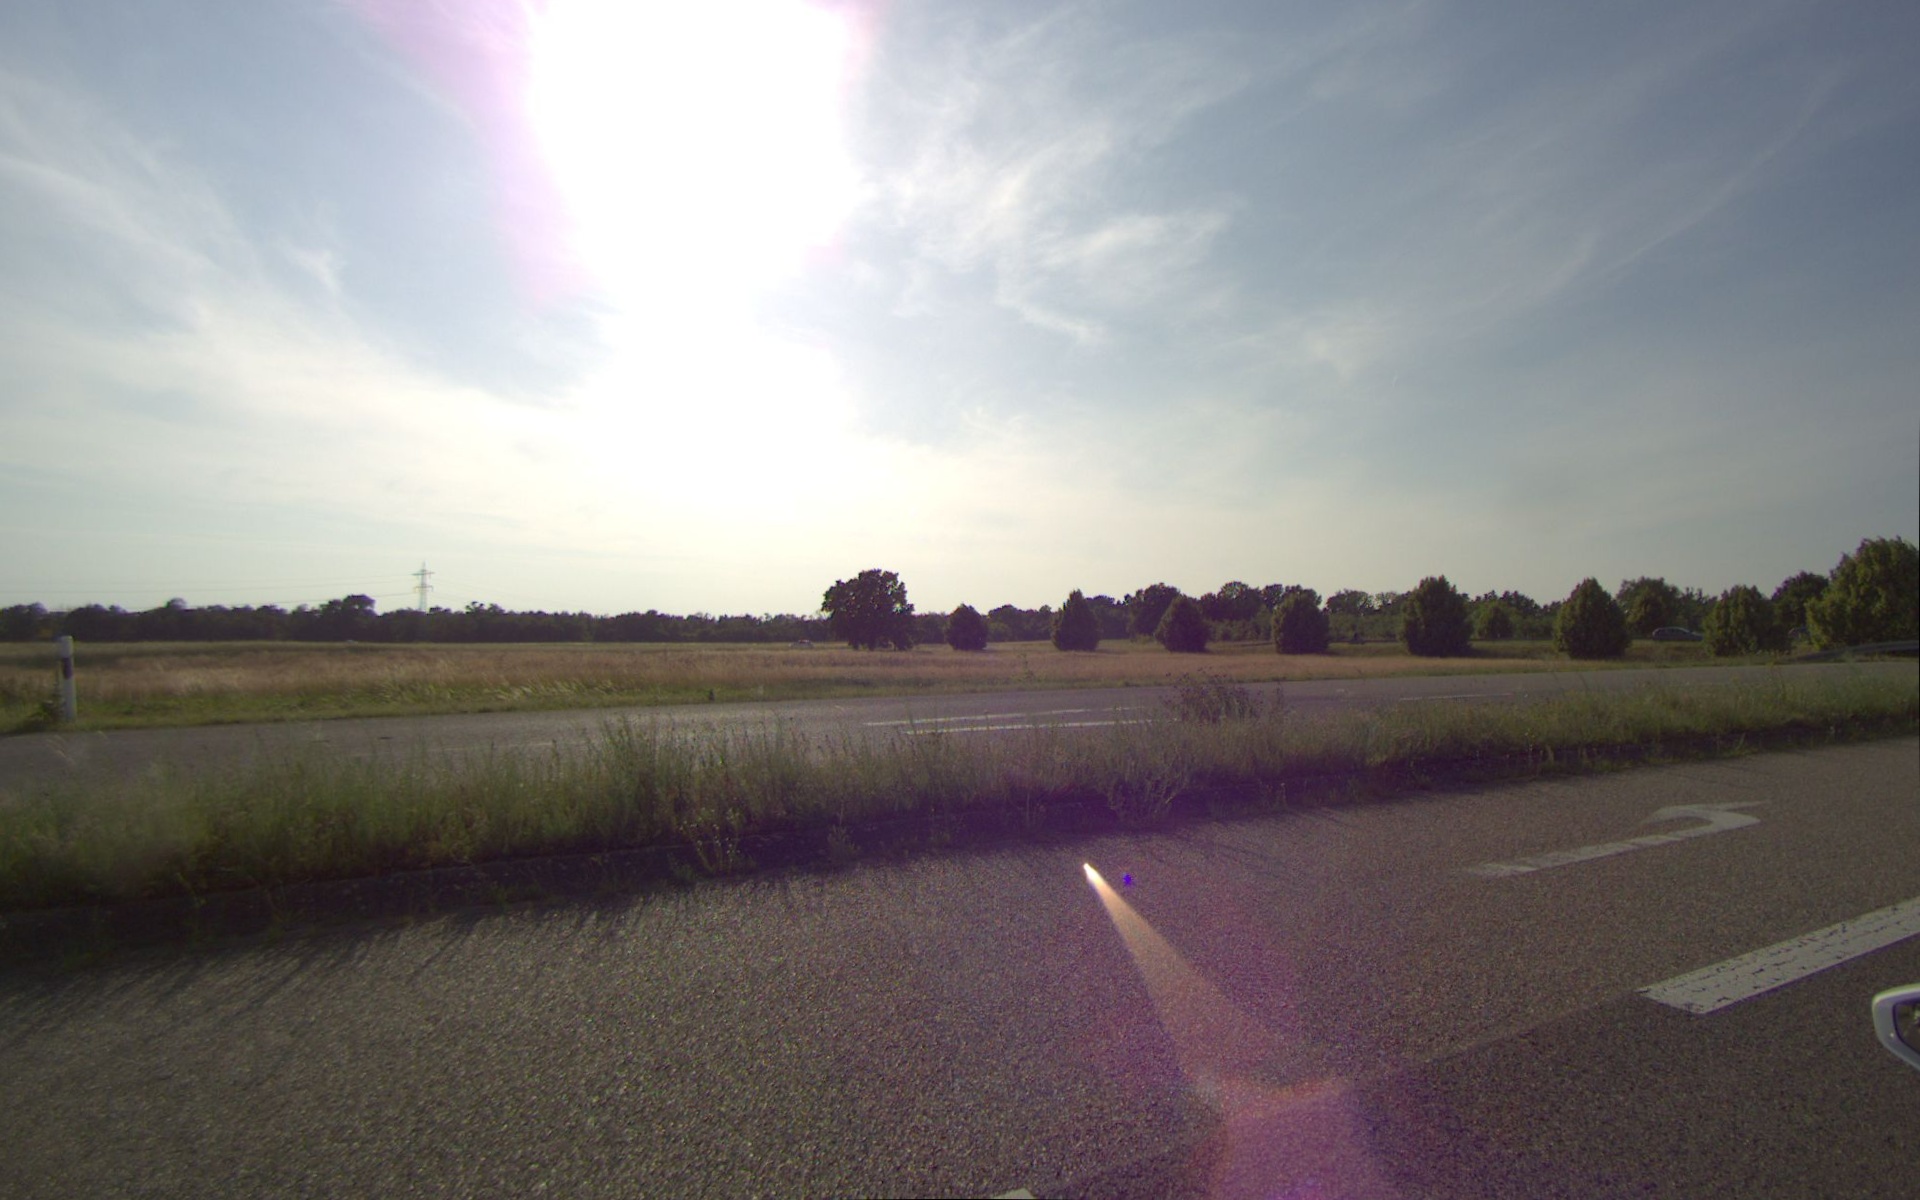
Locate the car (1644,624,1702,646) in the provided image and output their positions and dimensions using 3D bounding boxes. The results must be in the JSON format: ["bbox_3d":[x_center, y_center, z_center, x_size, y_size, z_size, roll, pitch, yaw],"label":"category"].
[{"bbox_3d":[71.861,3.529,101.265,1.981,2.040,4.426,2,0,-36],"label":"car"}]

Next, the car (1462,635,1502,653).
[{"bbox_3d":[65.273,5.491,125.703,1.984,2.040,3.952,2,0,-41],"label":"car"}]

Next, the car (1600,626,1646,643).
[{"bbox_3d":[76.158,3.958,115.362,1.978,1.689,3.966,2,0,-31],"label":"car"}]
